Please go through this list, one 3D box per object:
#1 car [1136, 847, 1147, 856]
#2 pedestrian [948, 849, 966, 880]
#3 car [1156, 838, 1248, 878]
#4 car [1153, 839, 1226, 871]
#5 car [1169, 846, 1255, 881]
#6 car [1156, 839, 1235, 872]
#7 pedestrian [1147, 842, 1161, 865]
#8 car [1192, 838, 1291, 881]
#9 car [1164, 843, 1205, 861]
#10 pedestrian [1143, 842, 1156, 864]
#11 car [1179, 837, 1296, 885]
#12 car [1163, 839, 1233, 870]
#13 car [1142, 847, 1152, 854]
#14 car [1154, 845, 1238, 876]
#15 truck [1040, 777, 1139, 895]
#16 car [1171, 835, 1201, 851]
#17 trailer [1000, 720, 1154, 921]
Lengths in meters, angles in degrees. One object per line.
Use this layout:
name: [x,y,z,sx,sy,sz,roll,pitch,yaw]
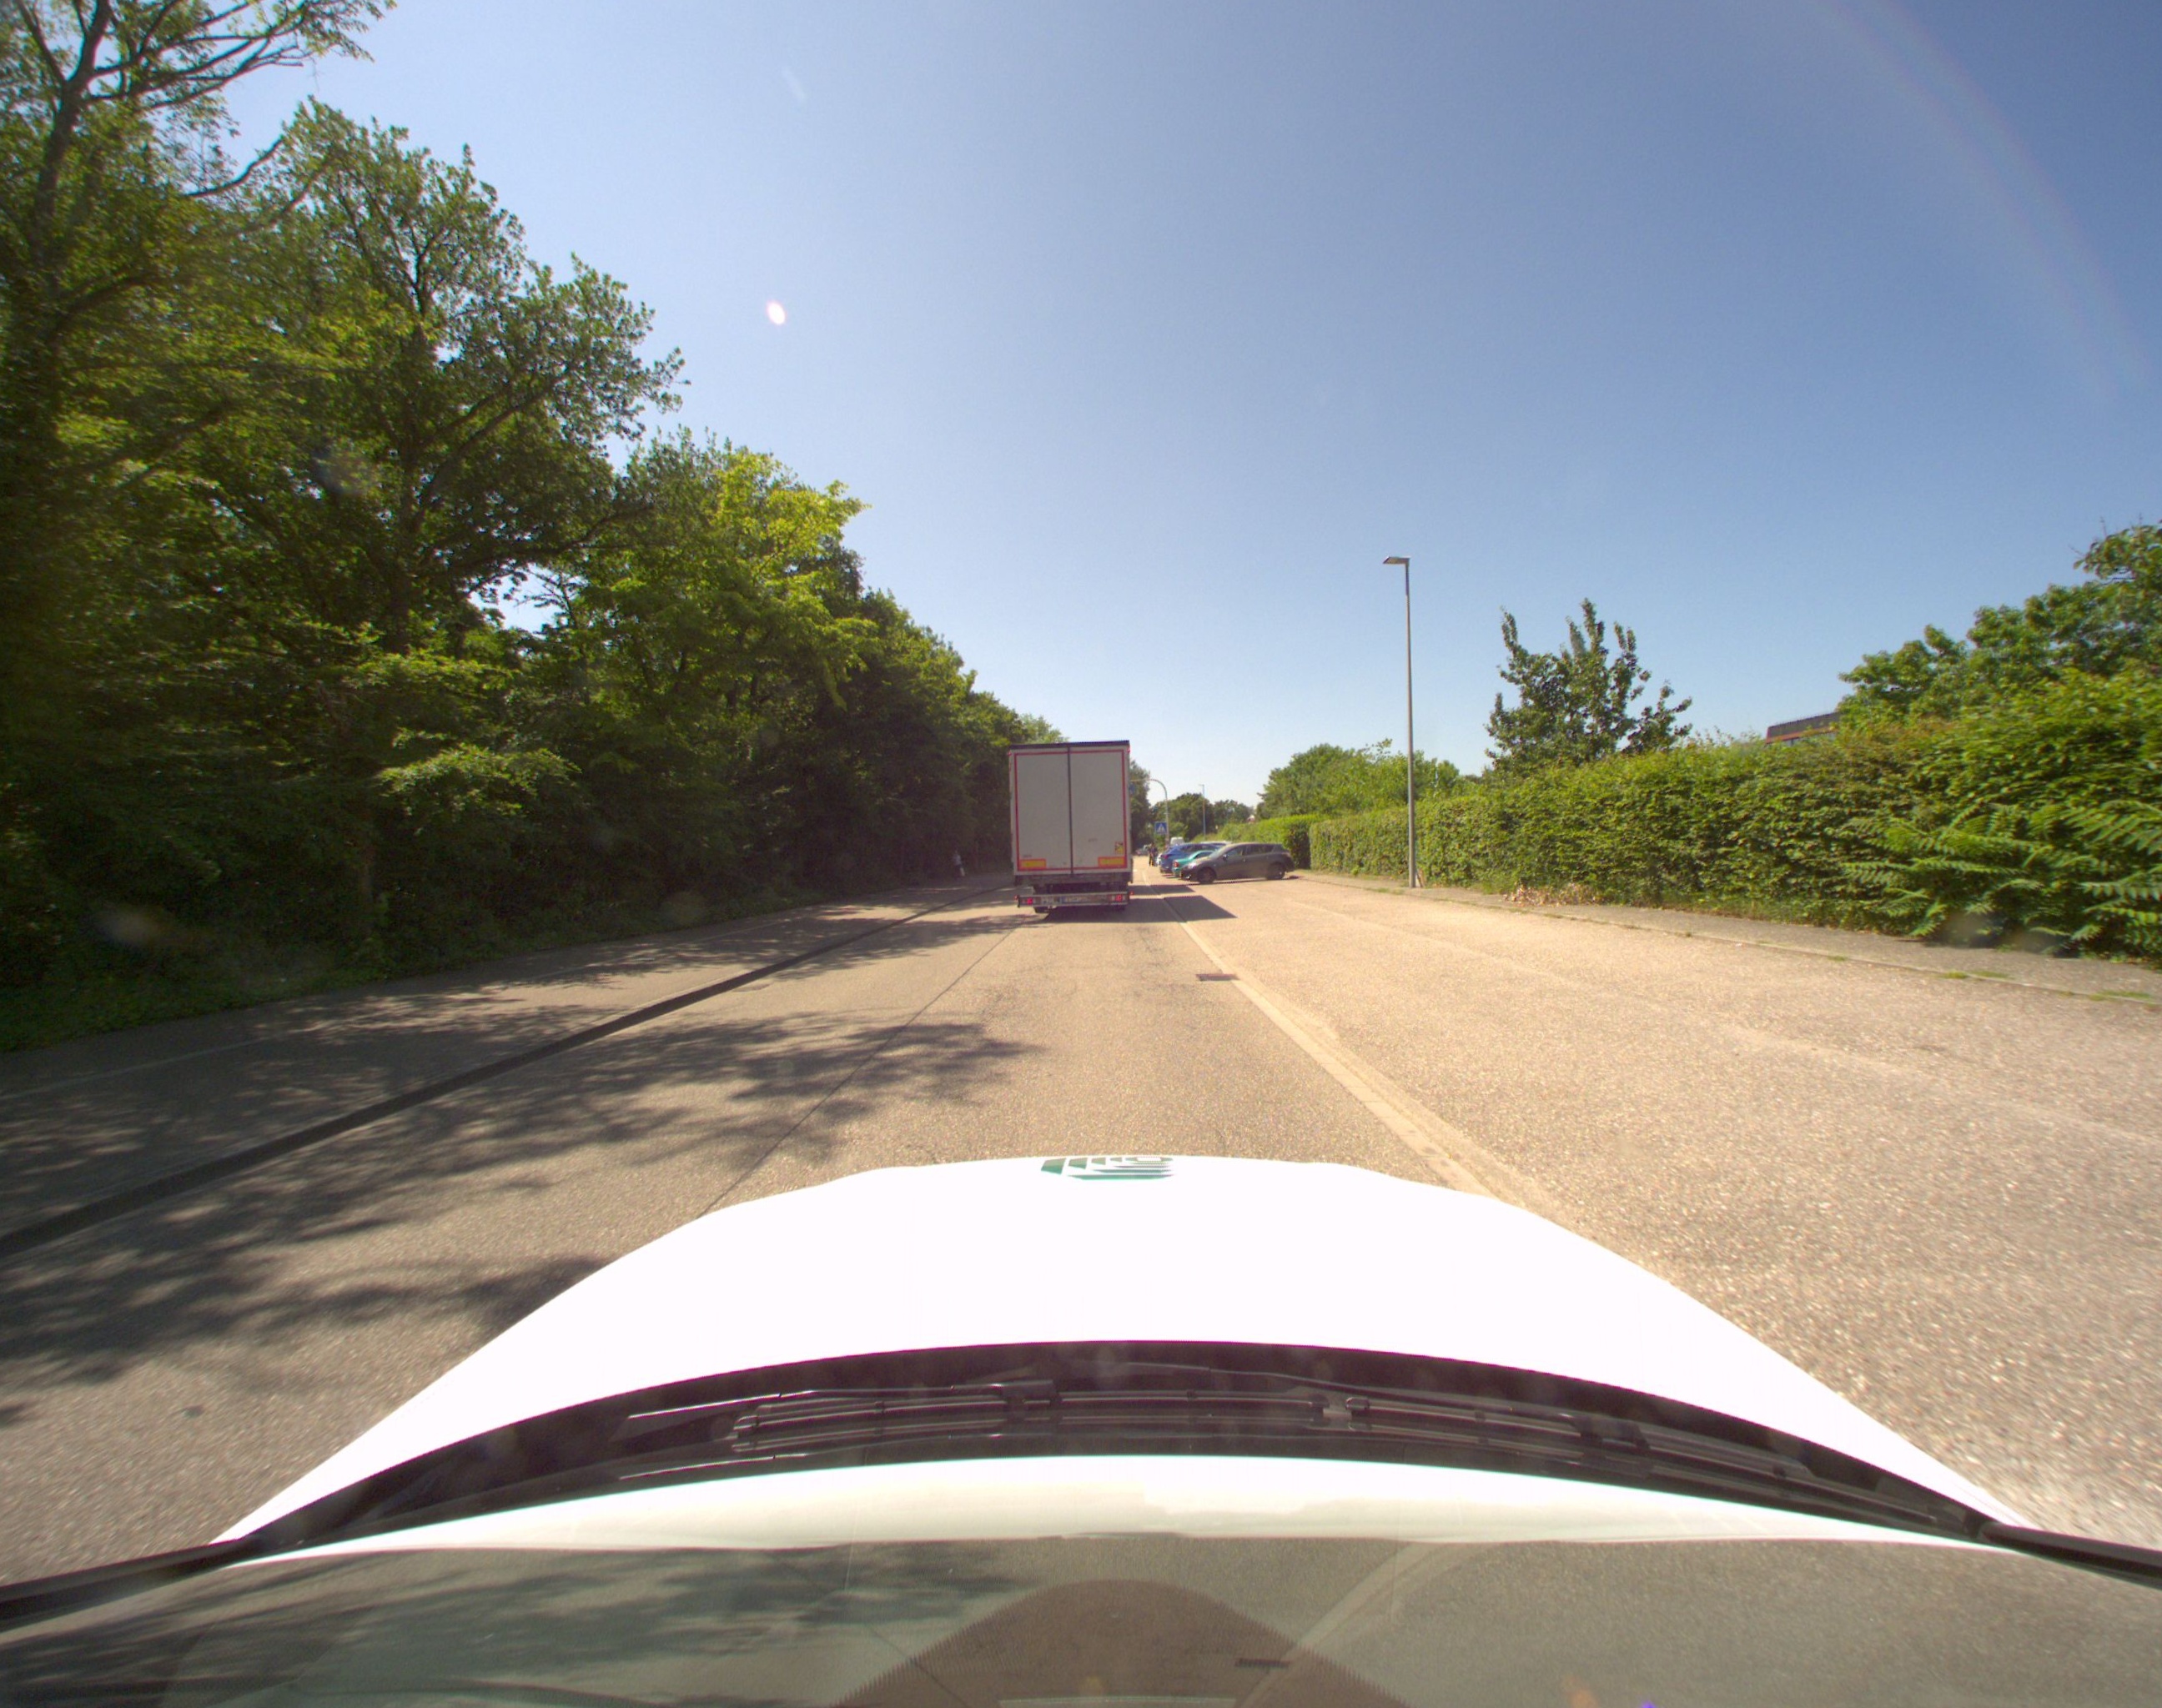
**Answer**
car: [10.664,-0.435,143.265,1.773,1.486,4.005,-2,1,4]
pedestrian: [-6.614,0.559,43.553,0.825,1.622,0.783,-1,1,1]
car: [5.950,0.178,40.451,4.222,1.634,1.824,-4,0,1]
car: [7.033,0.065,53.091,4.389,1.698,1.877,-5,0,0]
car: [6.016,0.427,37.663,3.719,1.268,1.629,-5,0,3]
car: [6.510,0.098,46.474,4.221,1.654,1.900,-3,-1,1]
pedestrian: [5.962,-0.007,66.557,0.902,1.798,0.937,-5,0,8]
car: [6.715,0.241,34.359,3.787,1.455,1.775,-5,0,1]
car: [10.707,-0.174,84.609,3.944,1.618,1.813,-3,0,0]
pedestrian: [5.831,-0.069,69.251,0.817,1.834,0.794,-5,0,8]
car: [5.976,0.268,31.486,4.148,1.495,1.883,-4,0,1]
car: [7.214,0.027,50.537,4.108,1.657,1.888,-3,0,3]
car: [12.746,-0.677,156.949,1.613,1.424,3.668,-2,1,0]
car: [6.075,0.349,43.333,4.122,1.439,1.812,-2,0,-4]
truck: [0.402,-0.612,29.601,3.102,3.725,6.417,-2,0,2]
car: [14.337,-1.455,111.114,3.936,1.798,1.816,-5,-2,6]
trailer: [0.135,-0.746,22.781,3.101,4.102,11.543,-2,0,2]
